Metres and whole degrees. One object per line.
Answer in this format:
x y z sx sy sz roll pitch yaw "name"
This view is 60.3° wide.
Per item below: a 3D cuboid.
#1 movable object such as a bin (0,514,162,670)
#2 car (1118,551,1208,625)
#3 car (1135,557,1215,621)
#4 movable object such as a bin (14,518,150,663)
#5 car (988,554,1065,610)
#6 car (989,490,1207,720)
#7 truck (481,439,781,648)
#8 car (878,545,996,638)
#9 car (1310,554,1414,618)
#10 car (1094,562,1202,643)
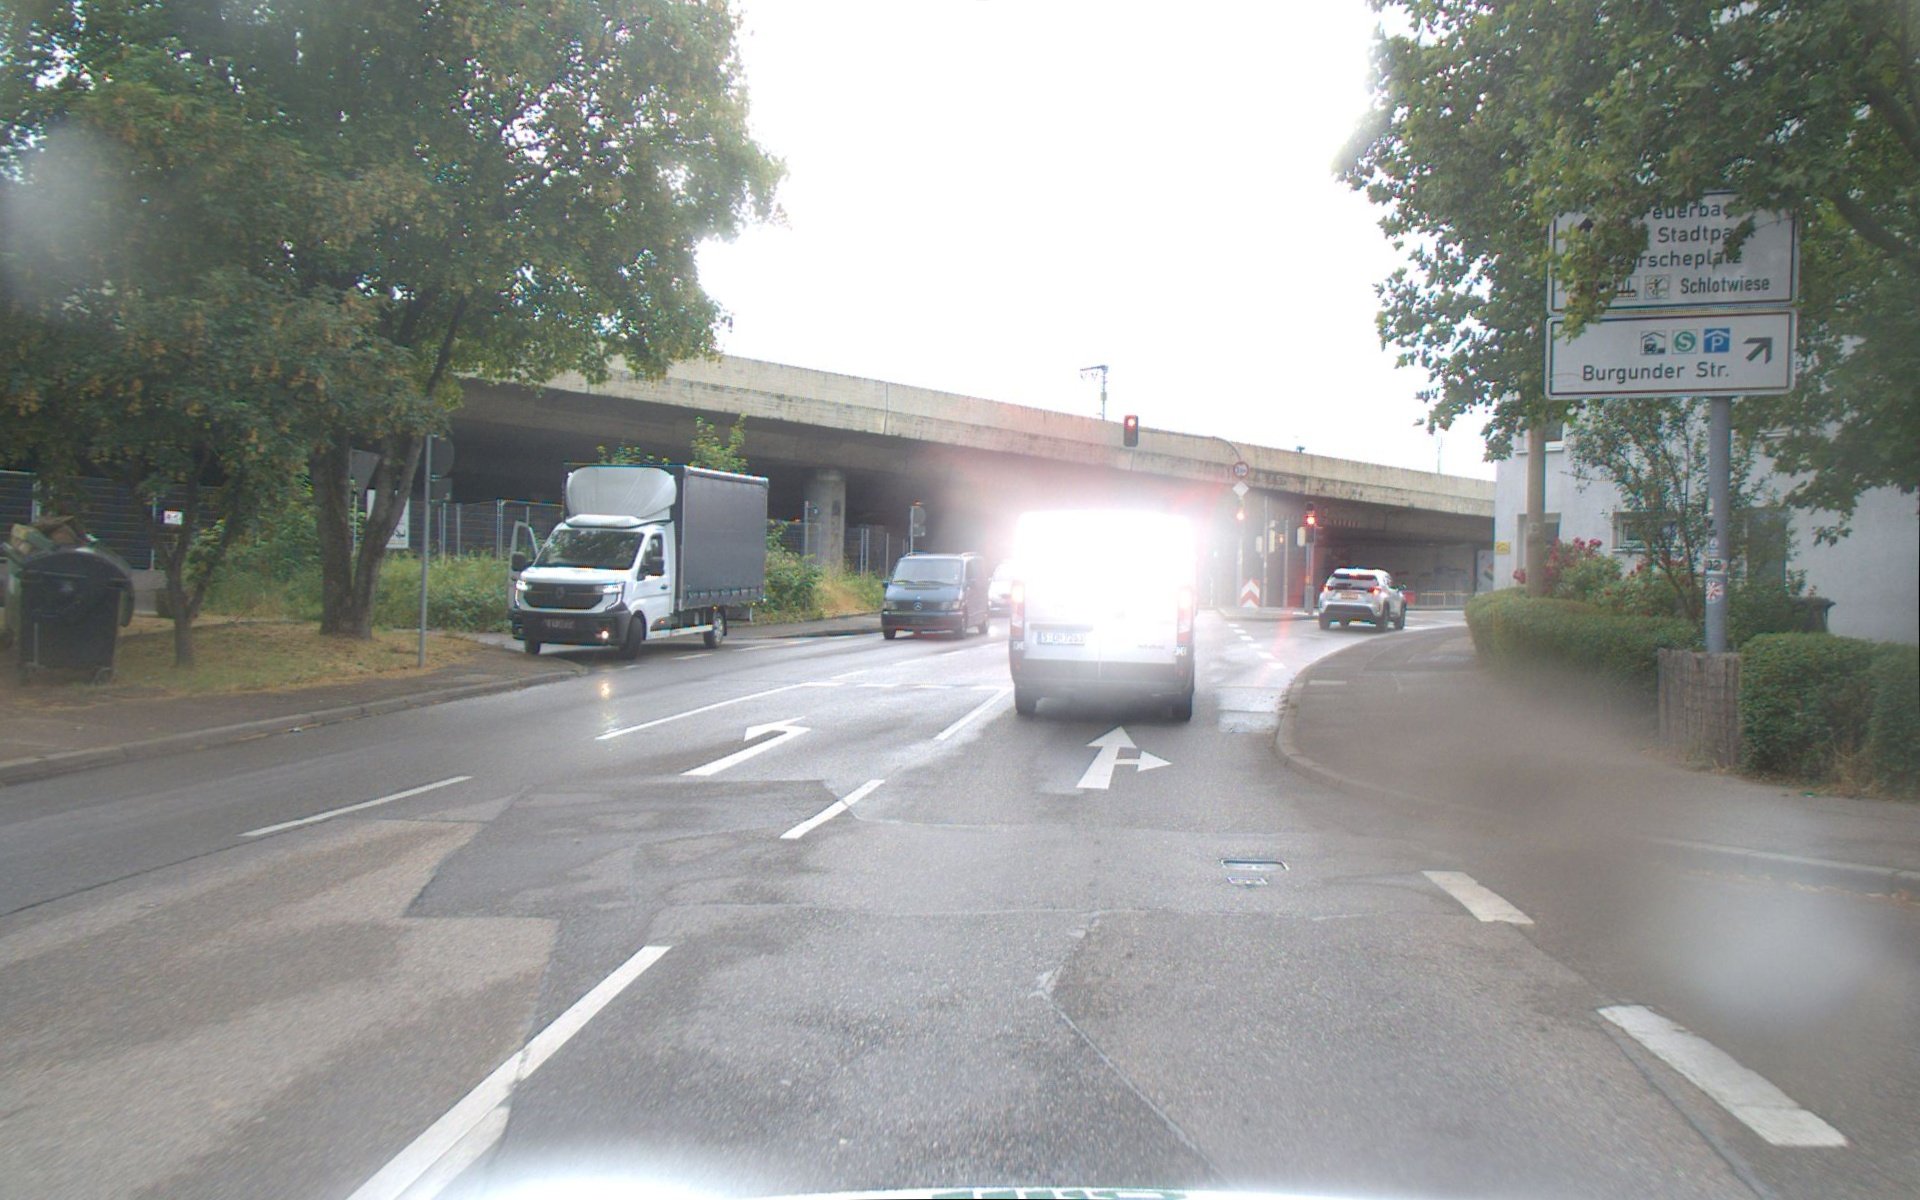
-9.576 -0.094 17.969 1.281 1.461 1.444 4 4 -38 "movable object such as a bin"
5.234 -0.299 42.169 1.951 1.759 4.003 1 0 11 "car"
6.310 -0.309 48.178 1.951 1.759 4.003 1 0 12 "car"
-10.244 -0.125 19.273 1.089 1.461 1.445 4 4 -38 "movable object such as a bin"
2.142 -0.613 52.367 1.792 1.605 4.338 2 2 11 "car"
1.836 -0.041 20.137 2.256 2.384 5.287 1 2 8 "car"
-5.698 -0.964 30.245 2.554 3.293 7.783 1 1 11 "truck"
-0.457 -0.219 38.048 1.916 1.965 4.688 1 1 9 "car"
10.744 -0.360 43.975 1.954 1.576 3.998 1 0 24 "car"
3.979 0.044 34.566 1.951 1.539 4.003 1 0 10 "car"
